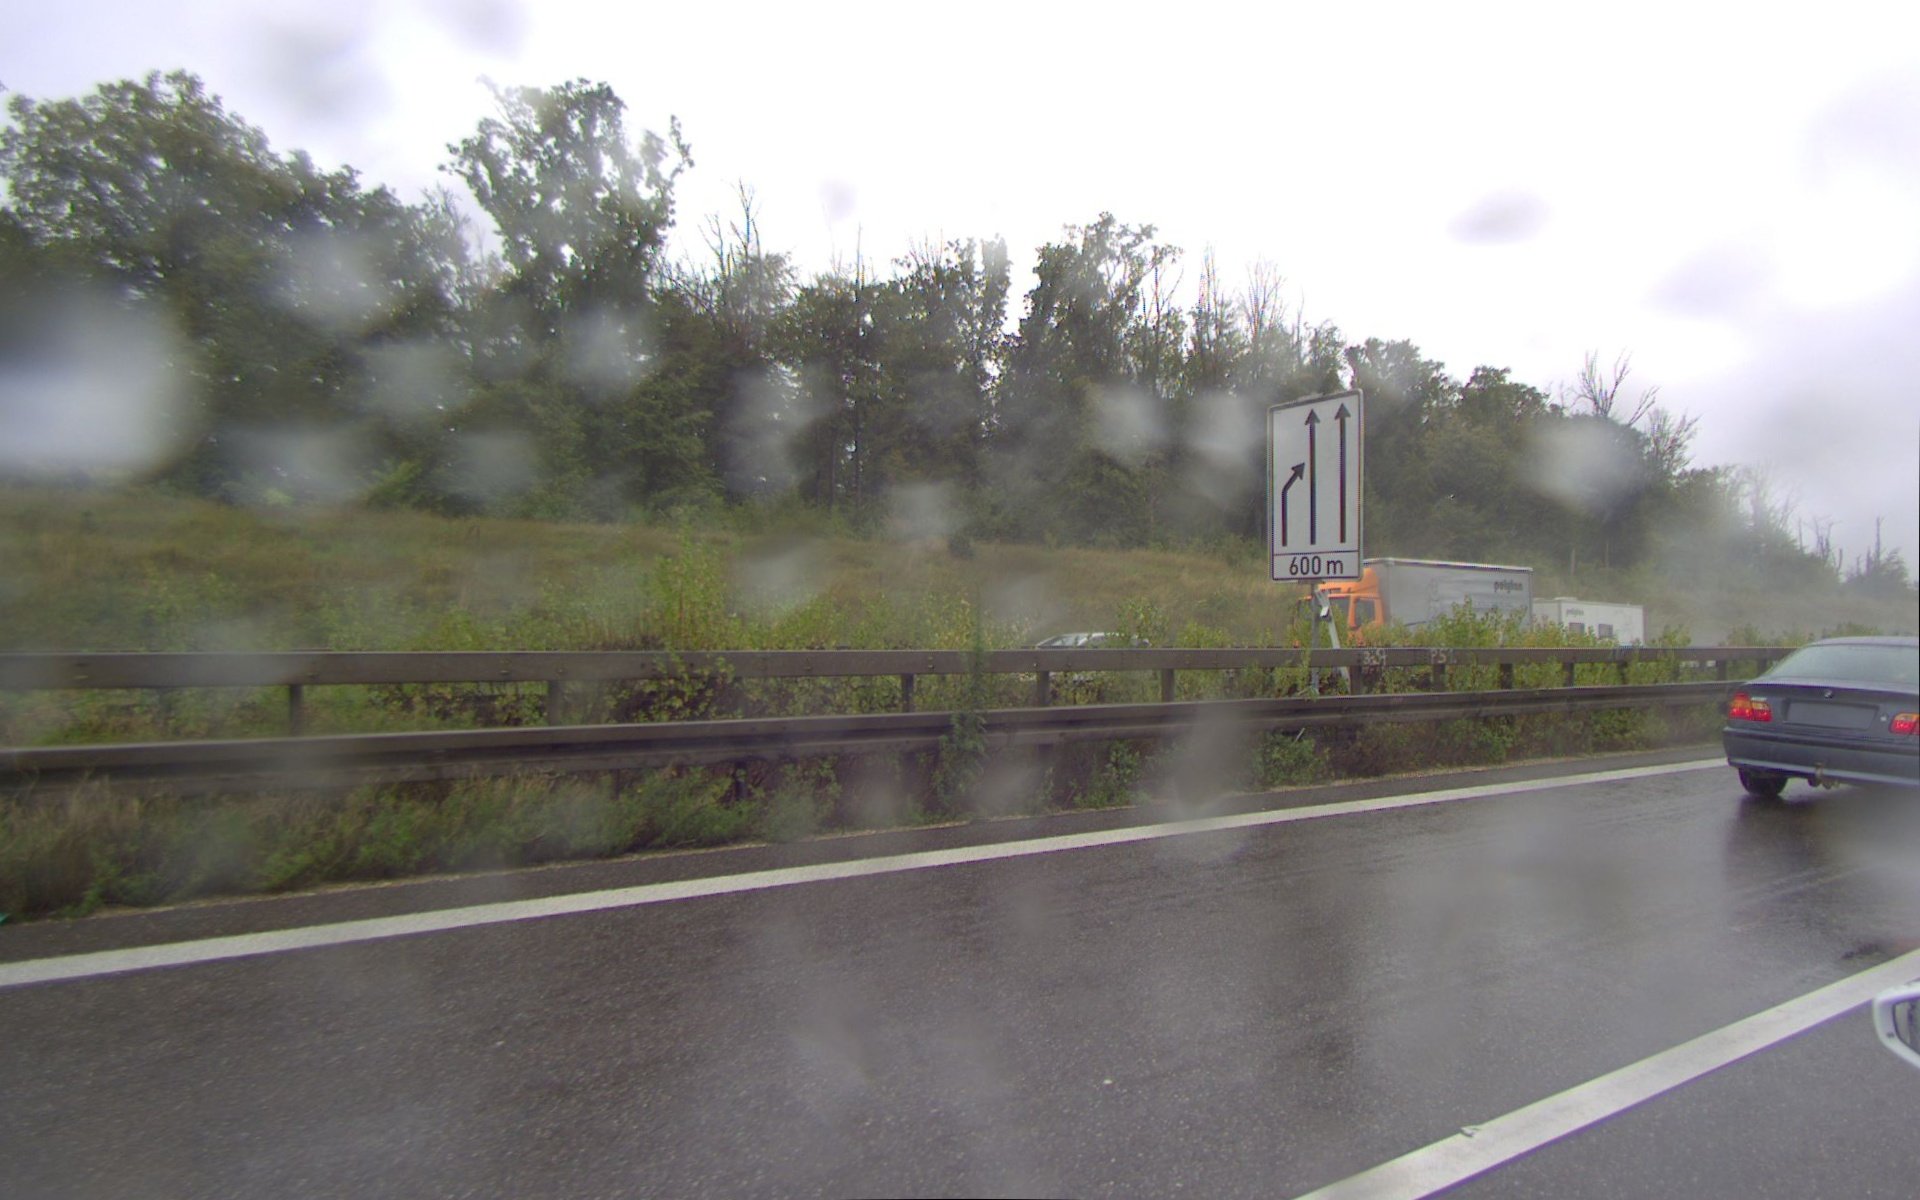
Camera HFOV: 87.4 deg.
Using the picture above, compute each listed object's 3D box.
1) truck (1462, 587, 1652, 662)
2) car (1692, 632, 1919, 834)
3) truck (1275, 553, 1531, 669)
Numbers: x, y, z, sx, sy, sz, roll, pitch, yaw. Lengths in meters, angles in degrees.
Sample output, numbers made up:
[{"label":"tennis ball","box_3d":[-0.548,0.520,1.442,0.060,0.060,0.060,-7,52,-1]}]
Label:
[{"label":"truck","box_3d":[21.823,0.902,36.573,7.804,2.513,2.637,2,0,-32]},{"label":"car","box_3d":[8.438,1.018,8.782,4.178,1.418,1.710,1,-1,-29]},{"label":"truck","box_3d":[14.416,0.362,32.353,9.150,3.325,2.910,1,0,-32]}]
